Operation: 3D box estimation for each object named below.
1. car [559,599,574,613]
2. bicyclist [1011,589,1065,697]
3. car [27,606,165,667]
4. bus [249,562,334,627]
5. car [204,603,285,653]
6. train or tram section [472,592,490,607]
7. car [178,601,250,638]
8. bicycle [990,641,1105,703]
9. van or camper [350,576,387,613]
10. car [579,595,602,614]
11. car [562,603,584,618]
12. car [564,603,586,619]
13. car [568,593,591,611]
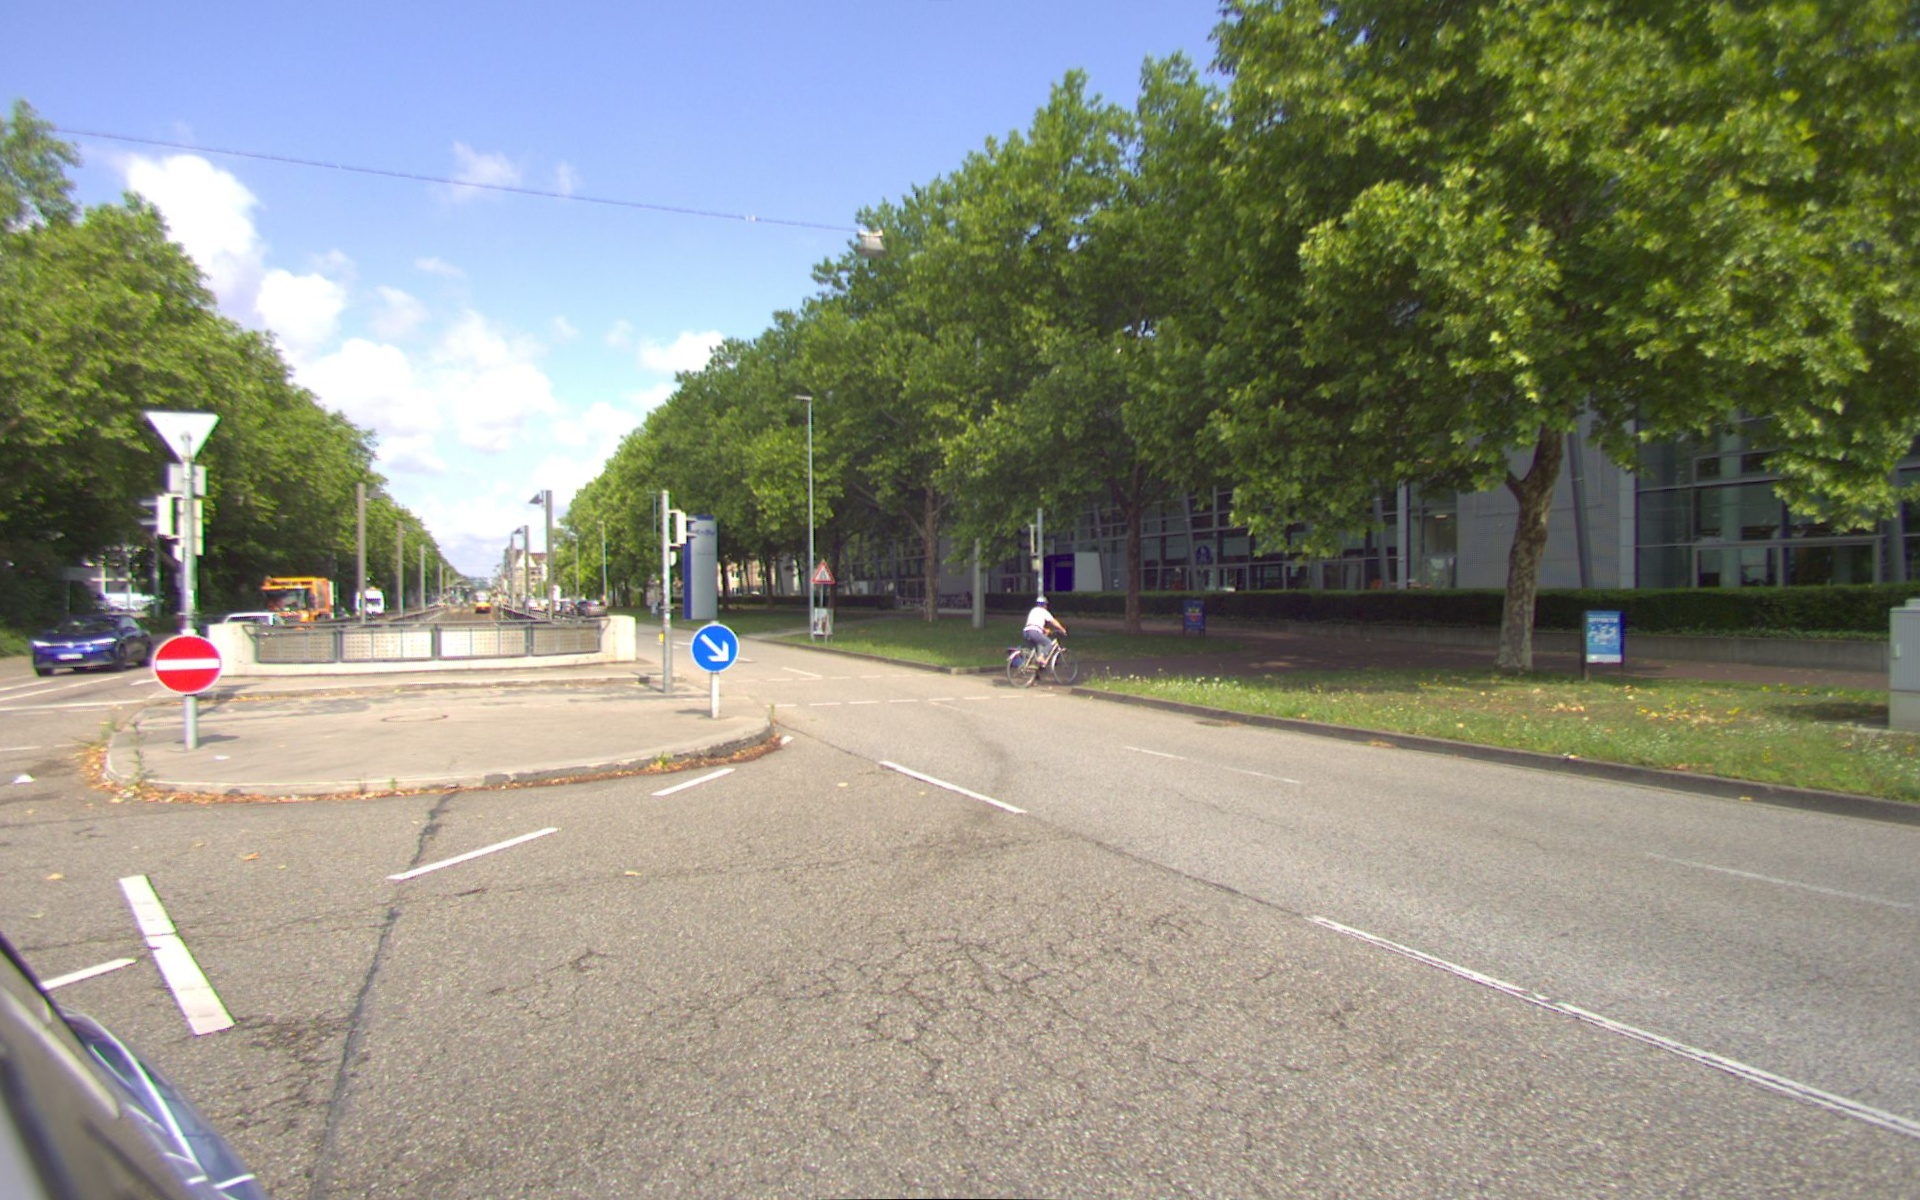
[{"bbox_3d":[-38.747,0.586,99.623,1.161,1.252,2.558,4,-2,-26],"label":"car"},{"bbox_3d":[1.516,0.831,19.662,0.719,2.029,0.605,4,-2,-32],"label":"bicyclist"},{"bbox_3d":[-24.591,1.005,28.998,1.860,1.587,4.595,-1,-1,-26],"label":"car"},{"bbox_3d":[-40.061,-0.289,61.012,2.699,3.492,10.429,3,-2,-25],"label":"bus"},{"bbox_3d":[-23.617,0.882,33.519,1.708,1.497,3.614,0,1,-27],"label":"car"},{"bbox_3d":[-83.793,-0.134,176.853,2.180,2.477,6.268,3,-2,-30],"label":"train or tram section"},{"bbox_3d":[-32.352,0.825,43.991,1.742,1.475,4.013,3,-2,-25],"label":"car"},{"bbox_3d":[1.729,1.379,19.797,2.145,1.094,0.889,0,0,-32],"label":"bicycle"},{"bbox_3d":[-48.852,-0.419,83.738,2.127,2.807,5.985,3,-2,-27],"label":"van or camper"},{"bbox_3d":[-30.590,0.407,83.776,1.397,1.467,3.167,5,-3,-25],"label":"car"},{"bbox_3d":[-36.450,0.990,95.381,1.584,1.214,3.138,5,-3,-26],"label":"car"},{"bbox_3d":[-36.592,1.027,96.088,1.553,1.386,3.909,5,-3,-25],"label":"car"},{"bbox_3d":[-33.723,0.217,89.611,1.556,1.445,3.167,5,-3,-25],"label":"car"}]
